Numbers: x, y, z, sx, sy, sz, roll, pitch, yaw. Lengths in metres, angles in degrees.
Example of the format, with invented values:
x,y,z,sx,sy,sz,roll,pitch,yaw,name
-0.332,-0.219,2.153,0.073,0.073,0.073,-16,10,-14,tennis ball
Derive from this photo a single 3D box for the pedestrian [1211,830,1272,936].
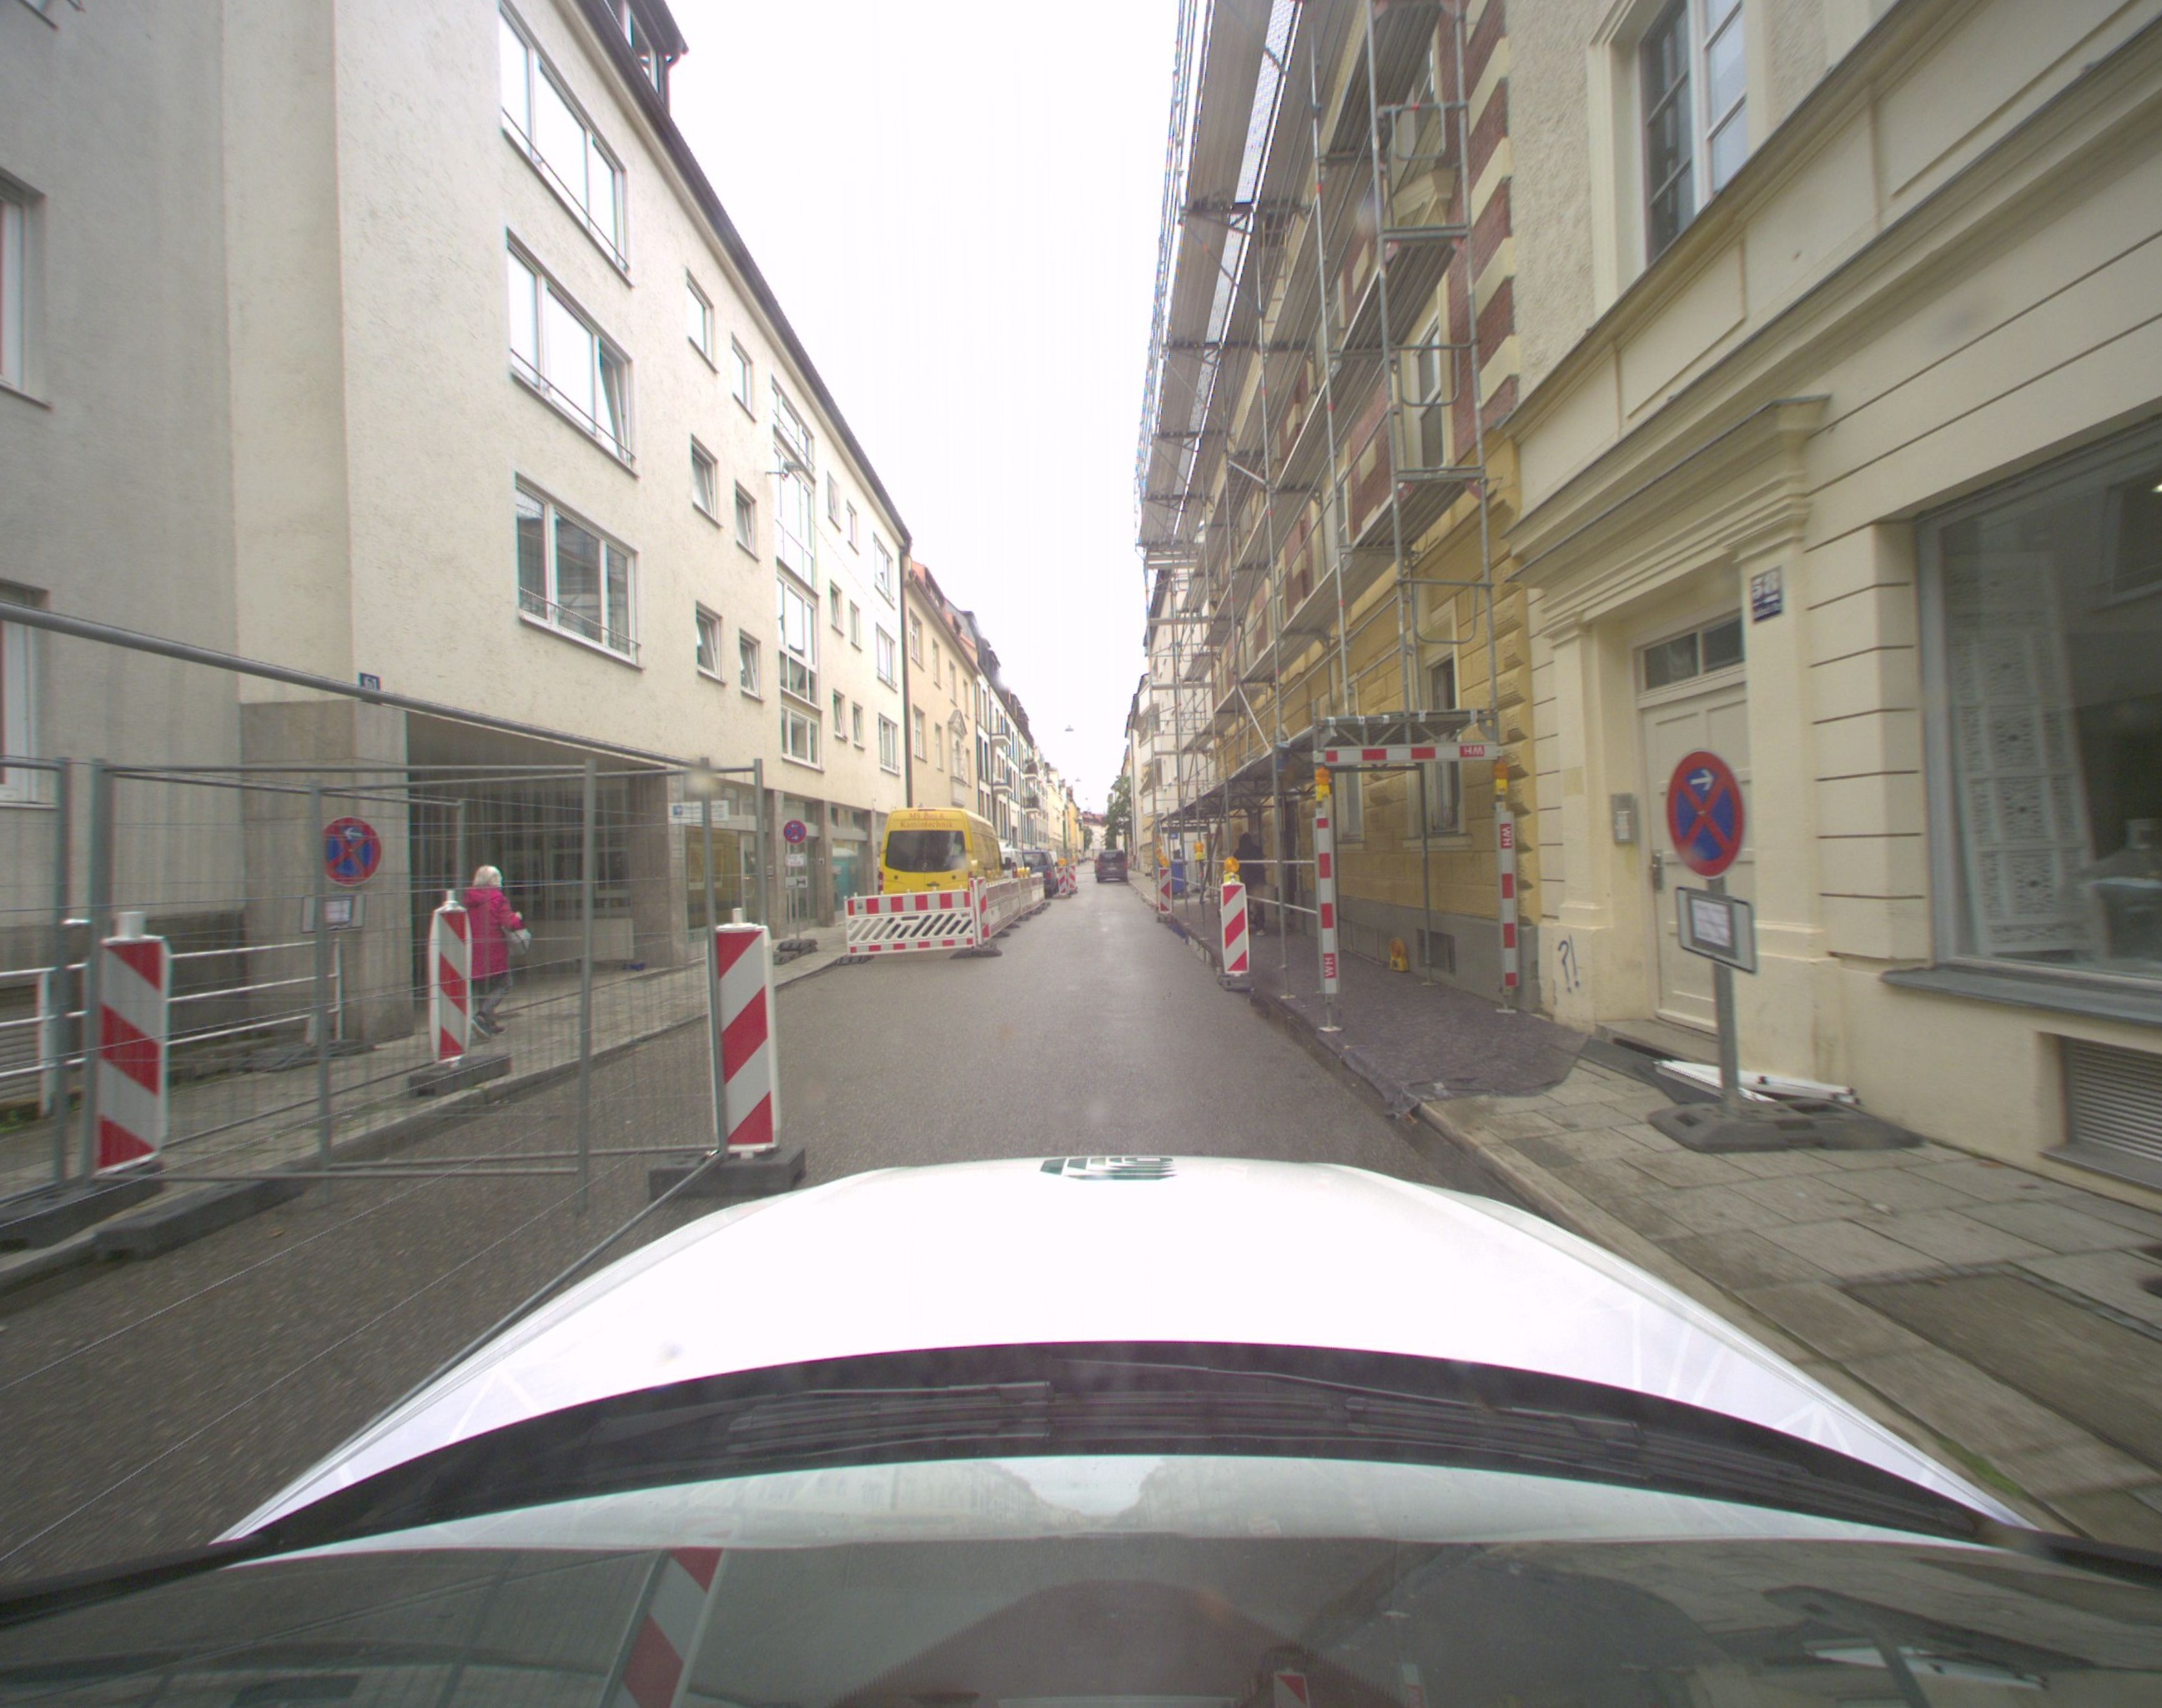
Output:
x,y,z,sx,sy,sz,roll,pitch,yaw,name
2.837,0.501,14.471,0.727,1.752,0.988,-6,-1,0,pedestrian

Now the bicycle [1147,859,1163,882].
x,y,z,sx,sy,sz,roll,pitch,yaw,name
4.002,0.878,44.123,0.635,1.153,1.916,-5,0,2,bicycle

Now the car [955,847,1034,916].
x,y,z,sx,sy,sz,roll,pitch,yaw,name
-2.692,0.839,26.411,1.911,1.897,4.790,-4,-1,0,car

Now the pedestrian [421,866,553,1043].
x,y,z,sx,sy,sz,roll,pitch,yaw,name
-5.413,0.876,7.465,0.635,1.532,0.748,0,-1,3,pedestrian

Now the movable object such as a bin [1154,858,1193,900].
x,y,z,sx,sy,sz,roll,pitch,yaw,name
3.272,0.856,28.613,1.079,1.346,1.322,-5,-1,13,movable object such as a bin

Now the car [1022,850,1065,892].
x,y,z,sx,sy,sz,roll,pitch,yaw,name
-1.836,0.842,40.625,1.900,1.897,5.084,-2,-1,-2,car

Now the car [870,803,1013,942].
x,y,z,sx,sy,sz,roll,pitch,yaw,name
-2.964,0.374,19.044,1.987,2.578,6.737,-3,0,1,car

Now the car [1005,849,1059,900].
x,y,z,sx,sy,sz,roll,pitch,yaw,name
-1.984,0.836,34.643,1.721,1.897,5.509,-4,-1,1,car

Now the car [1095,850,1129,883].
x,y,z,sx,sy,sz,roll,pitch,yaw,name
1.904,0.744,50.938,1.987,1.932,4.660,-1,0,0,car

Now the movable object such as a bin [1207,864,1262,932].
x,y,z,sx,sy,sz,roll,pitch,yaw,name
2.856,0.800,15.230,0.727,1.141,0.988,-6,-1,0,movable object such as a bin
